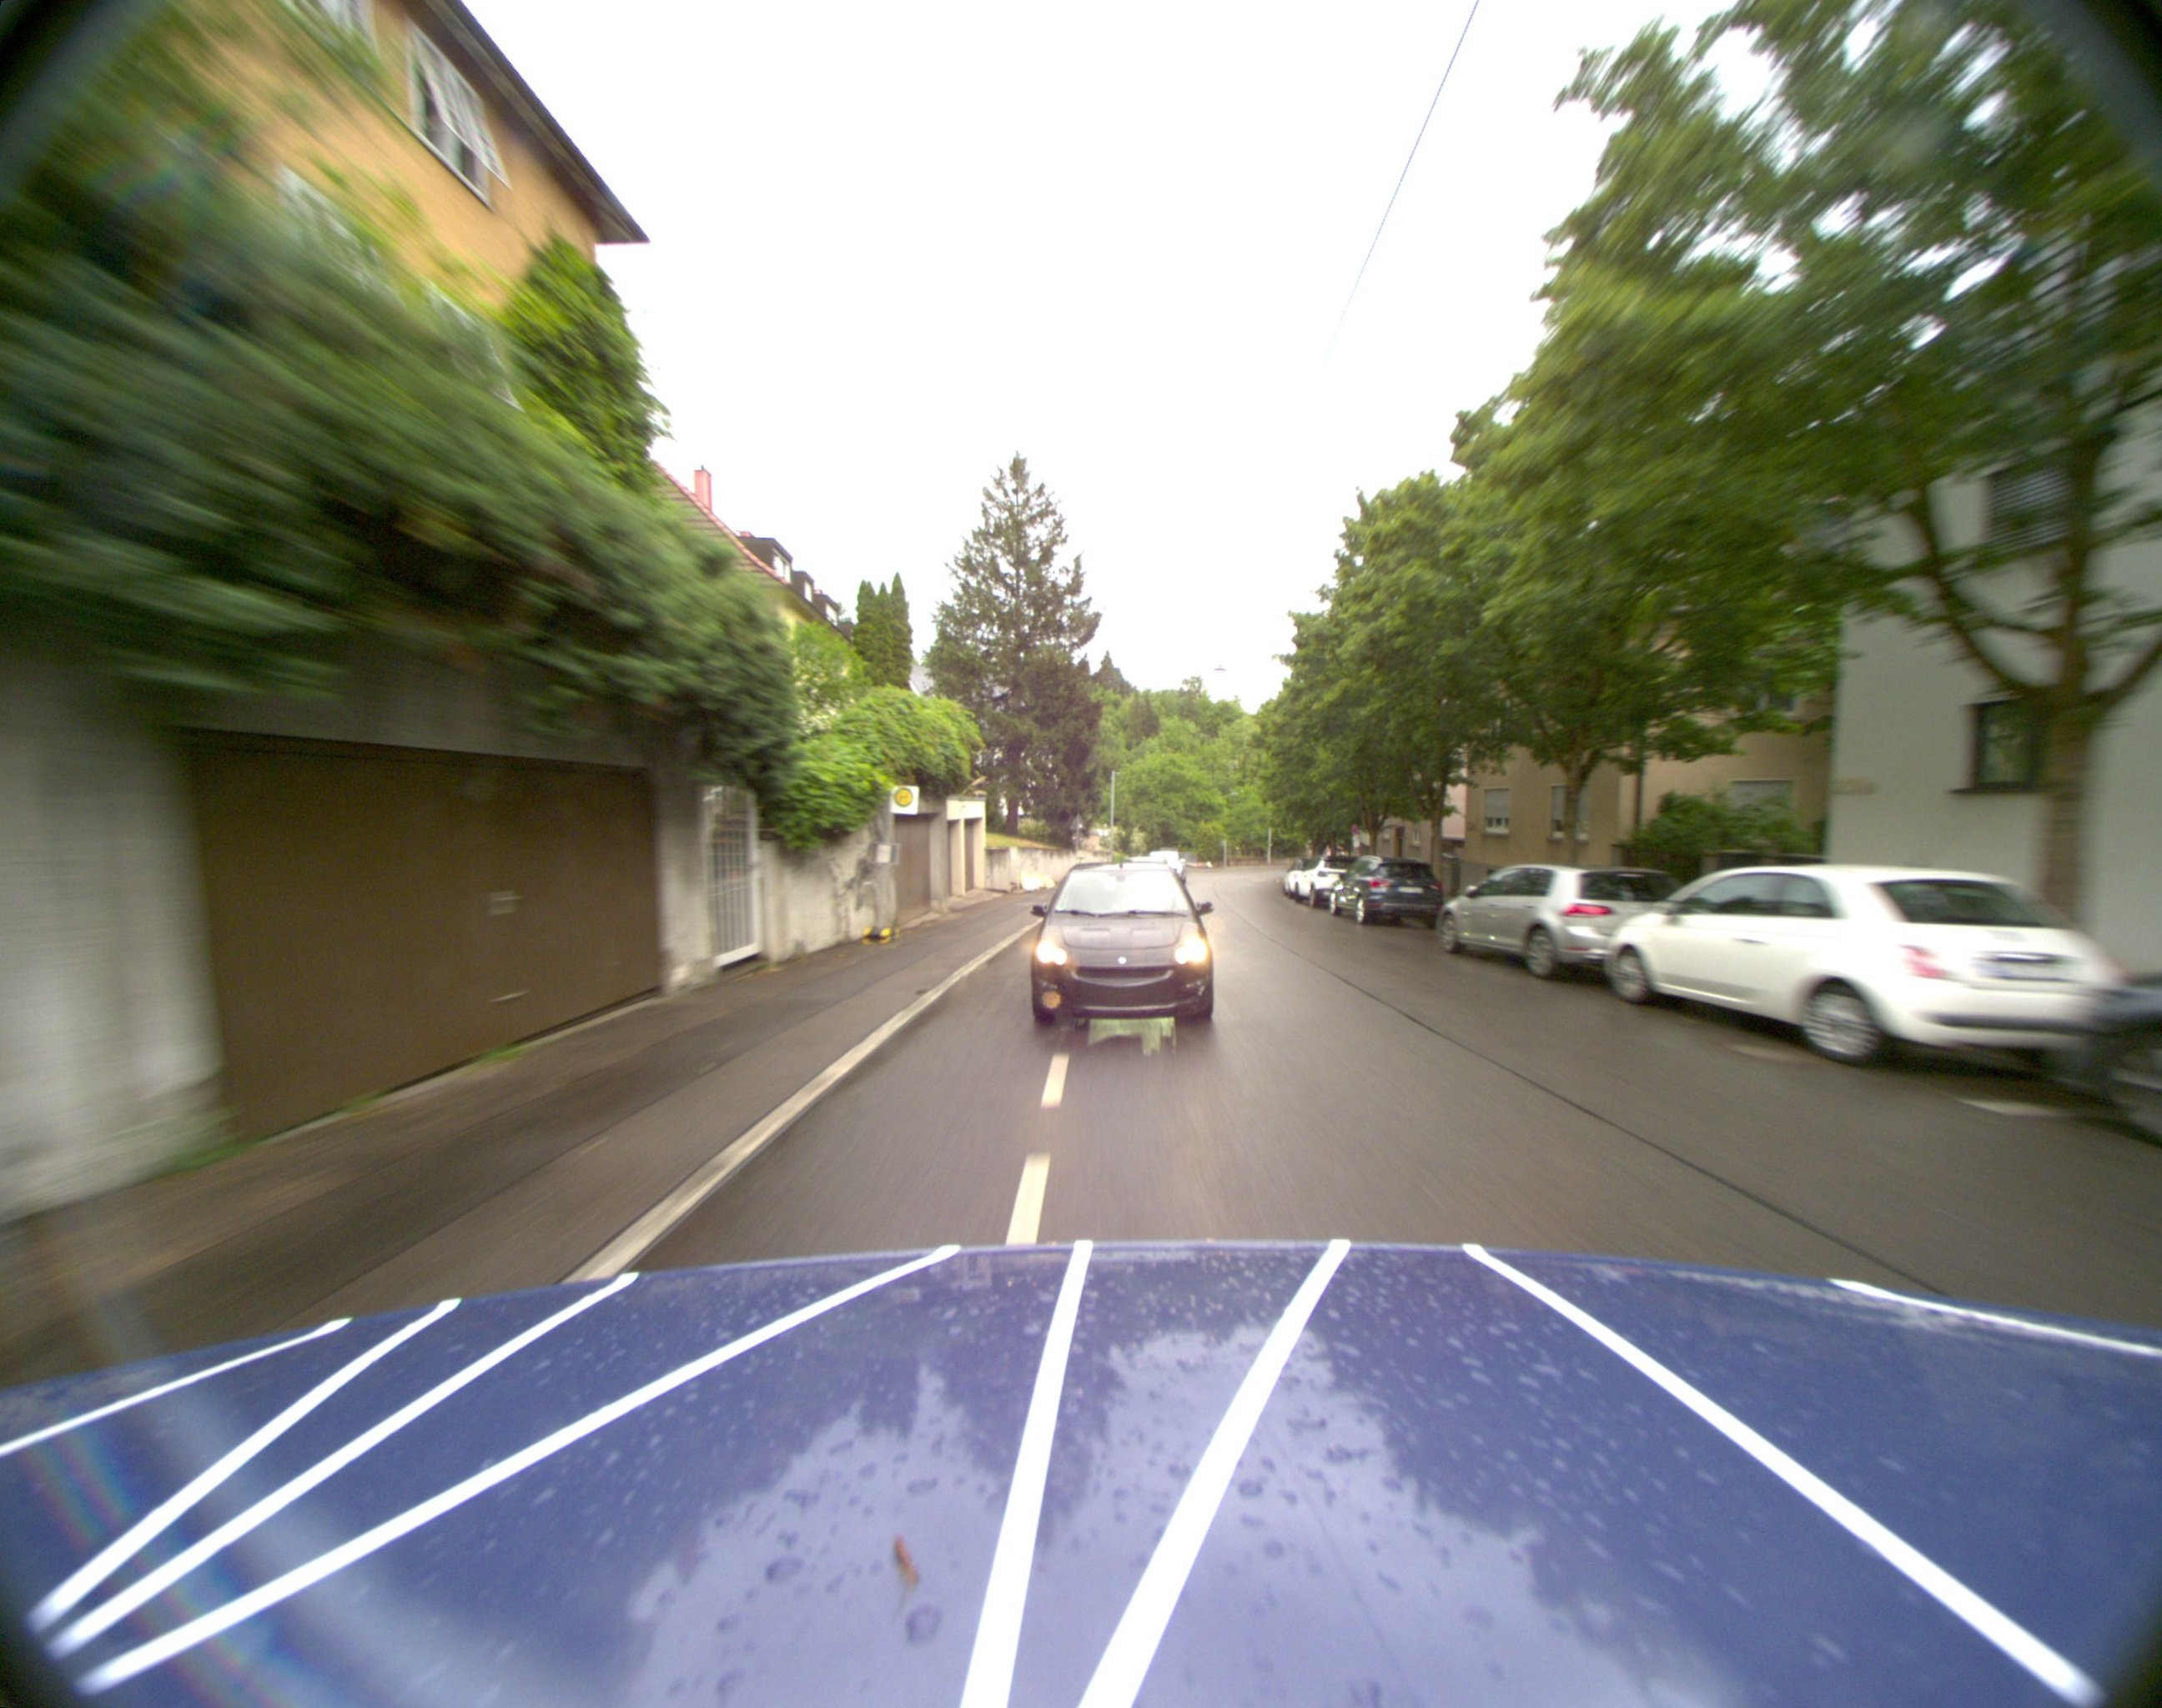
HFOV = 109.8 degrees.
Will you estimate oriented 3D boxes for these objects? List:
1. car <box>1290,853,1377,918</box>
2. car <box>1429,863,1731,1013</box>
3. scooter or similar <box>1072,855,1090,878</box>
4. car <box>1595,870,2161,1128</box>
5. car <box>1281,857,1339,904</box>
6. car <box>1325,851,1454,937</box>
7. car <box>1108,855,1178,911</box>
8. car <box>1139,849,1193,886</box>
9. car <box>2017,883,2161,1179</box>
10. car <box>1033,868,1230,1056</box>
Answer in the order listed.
[{"bbox_3d":[7.717,0.893,23.547,1.595,1.649,3.924,5,1,6],"label":"car"},{"bbox_3d":[6.502,0.964,10.517,1.621,1.462,3.972,3,1,3],"label":"car"},{"bbox_3d":[0.020,0.619,38.154,0.599,1.126,1.371,2,1,12],"label":"scooter or similar"},{"bbox_3d":[6.374,0.963,6.588,1.577,1.480,3.471,4,0,4],"label":"car"},{"bbox_3d":[8.492,0.946,28.406,1.620,1.463,3.671,6,1,12],"label":"car"},{"bbox_3d":[7.120,0.836,17.968,1.621,1.649,3.924,4,1,5],"label":"car"},{"bbox_3d":[1.975,0.818,23.172,1.806,1.480,4.019,2,0,8],"label":"car"},{"bbox_3d":[4.267,0.609,37.455,2.010,1.652,4.450,2,1,15],"label":"car"},{"bbox_3d":[6.297,1.000,2.201,1.668,1.480,4.475,4,1,3],"label":"car"},{"bbox_3d":[0.434,0.917,7.986,1.578,1.443,3.587,1,0,1],"label":"car"}]
